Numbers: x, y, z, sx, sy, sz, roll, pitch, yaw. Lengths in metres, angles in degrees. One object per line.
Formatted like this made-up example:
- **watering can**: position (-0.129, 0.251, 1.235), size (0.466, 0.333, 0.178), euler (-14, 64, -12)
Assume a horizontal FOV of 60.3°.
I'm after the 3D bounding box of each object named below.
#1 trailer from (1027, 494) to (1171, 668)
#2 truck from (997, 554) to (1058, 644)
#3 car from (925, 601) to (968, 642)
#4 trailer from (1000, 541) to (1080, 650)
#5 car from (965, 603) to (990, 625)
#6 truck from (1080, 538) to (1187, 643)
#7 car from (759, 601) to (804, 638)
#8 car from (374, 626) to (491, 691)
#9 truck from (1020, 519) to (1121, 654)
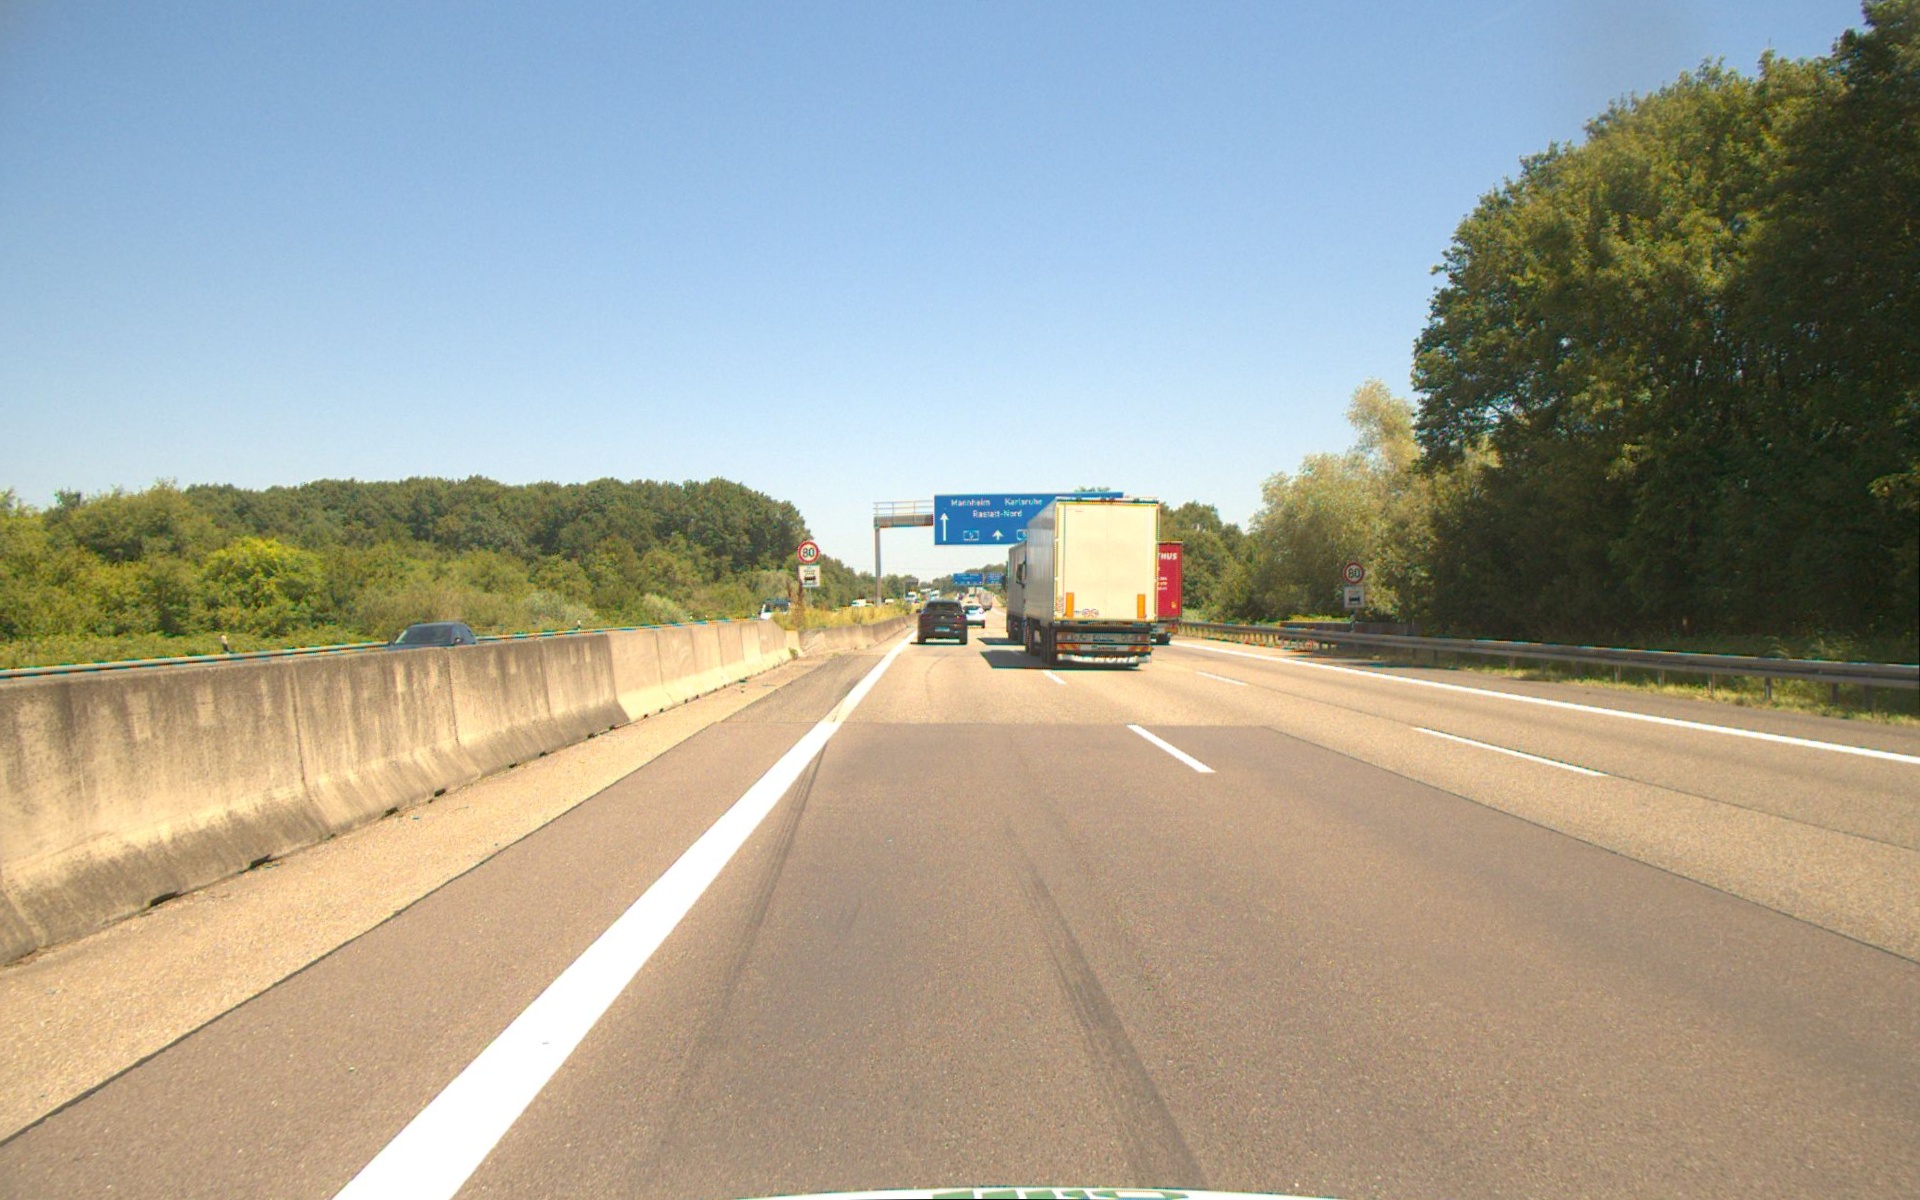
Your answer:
- **trailer**: position (3.540, -0.430, 45.345), size (2.738, 4.106, 12.565), euler (0, 0, -1)
- **truck**: position (3.220, -0.010, 80.163), size (2.645, 4.166, 6.452), euler (0, -1, 0)
- **car**: position (-0.565, 0.821, 64.875), size (1.626, 1.576, 3.782), euler (0, 0, -1)
- **trailer**: position (3.251, -0.098, 70.815), size (2.652, 4.139, 14.744), euler (0, -1, 0)
- **car**: position (1.190, 0.952, 114.169), size (1.704, 1.512, 4.000), euler (0, 0, 0)
- **truck**: position (7.421, -0.365, 72.840), size (2.993, 4.178, 13.214), euler (1, 0, -1)
- **car**: position (-10.561, 1.111, 98.276), size (1.953, 2.049, 6.222), euler (-2, 0, -1)
- **car**: position (-13.515, 1.471, 42.588), size (1.734, 1.497, 3.999), euler (-1, 0, -1)
- **truck**: position (3.443, -0.397, 52.852), size (2.743, 4.077, 6.019), euler (0, 0, -1)
